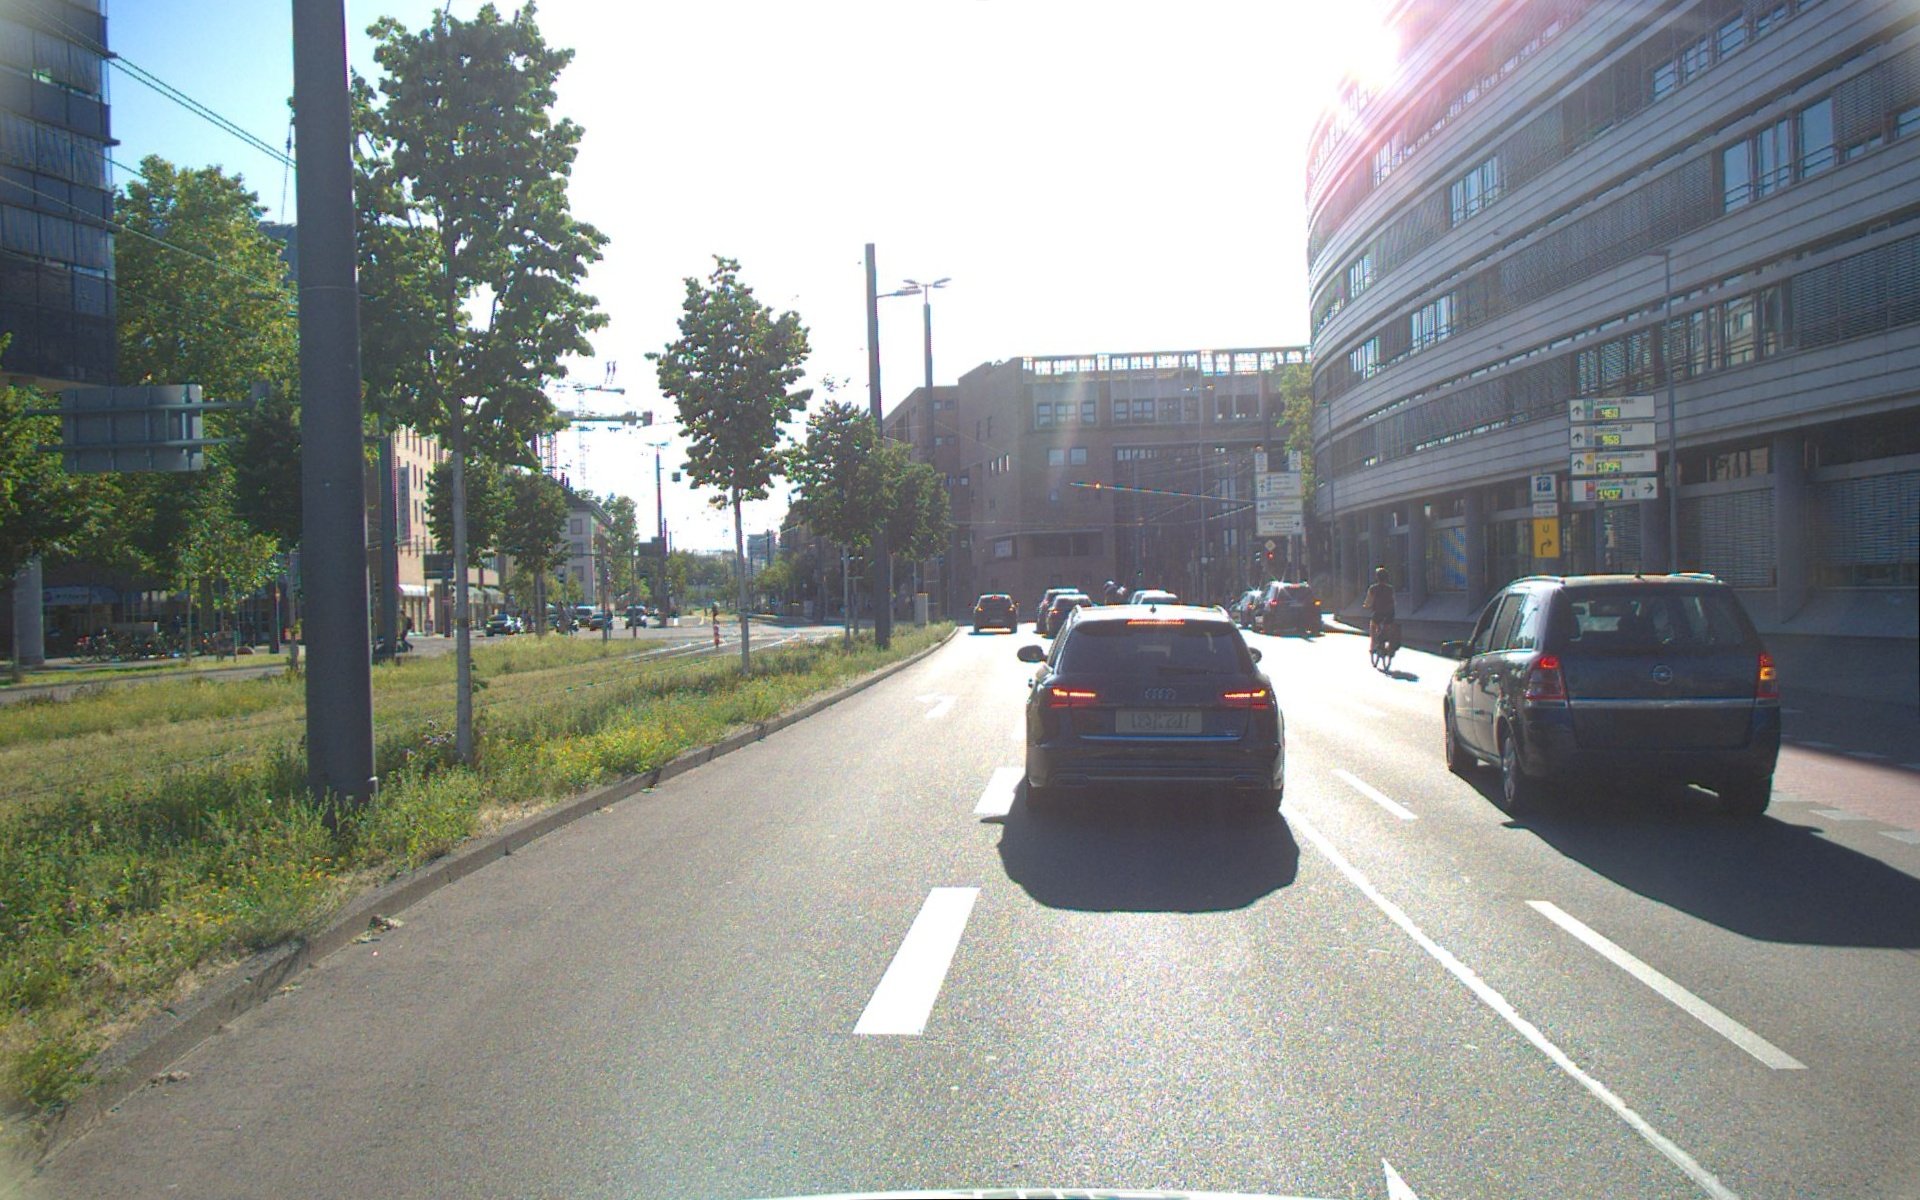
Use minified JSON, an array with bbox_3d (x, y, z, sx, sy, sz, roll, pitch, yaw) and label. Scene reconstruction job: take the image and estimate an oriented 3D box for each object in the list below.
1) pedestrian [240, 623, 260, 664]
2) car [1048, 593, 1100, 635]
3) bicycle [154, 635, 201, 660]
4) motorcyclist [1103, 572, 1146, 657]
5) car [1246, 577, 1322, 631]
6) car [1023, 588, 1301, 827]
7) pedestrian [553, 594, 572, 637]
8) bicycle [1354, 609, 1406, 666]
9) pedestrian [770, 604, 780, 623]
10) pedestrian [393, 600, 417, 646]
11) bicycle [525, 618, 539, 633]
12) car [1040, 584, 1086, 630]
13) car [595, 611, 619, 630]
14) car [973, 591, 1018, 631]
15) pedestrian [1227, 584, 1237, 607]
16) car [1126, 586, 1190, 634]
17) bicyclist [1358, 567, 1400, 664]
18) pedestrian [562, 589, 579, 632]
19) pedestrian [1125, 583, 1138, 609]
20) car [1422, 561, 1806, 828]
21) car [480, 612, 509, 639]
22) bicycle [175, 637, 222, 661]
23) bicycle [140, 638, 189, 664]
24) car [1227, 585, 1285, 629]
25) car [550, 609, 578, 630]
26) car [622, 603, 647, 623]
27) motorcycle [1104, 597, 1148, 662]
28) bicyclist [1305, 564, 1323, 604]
[{"bbox_3d":[-35.945,2.211,83.734,0.652,2.049,0.678,-2,0,2],"label":"pedestrian"},{"bbox_3d":[3.986,0.461,58.313,1.701,1.373,4.001,-2,0,3],"label":"car"},{"bbox_3d":[-33.237,1.997,70.286,1.743,0.968,0.537,-2,0,-26],"label":"bicycle"},{"bbox_3d":[3.099,0.263,31.172,0.729,1.557,1.021,-2,0,5],"label":"motorcyclist"},{"bbox_3d":[11.555,0.122,59.204,1.952,1.780,4.330,-2,0,2],"label":"car"},{"bbox_3d":[1.566,0.688,12.952,1.772,1.518,4.499,-1,0,7],"label":"car"},{"bbox_3d":[-17.403,0.686,72.402,0.619,1.862,0.662,-2,0,-5],"label":"pedestrian"},{"bbox_3d":[8.132,0.709,32.070,0.481,1.015,2.329,-2,0,3],"label":"bicycle"},{"bbox_3d":[-16.231,1.166,145.325,0.729,1.668,0.765,-2,0,-12],"label":"pedestrian"},{"bbox_3d":[-24.952,1.044,74.367,0.717,2.049,0.838,-1,0,6],"label":"pedestrian"},{"bbox_3d":[-34.150,2.021,131.924,0.637,1.104,2.922,-2,0,-6],"label":"bicycle"},{"bbox_3d":[4.061,0.260,65.571,1.701,1.679,4.001,-2,0,3],"label":"car"},{"bbox_3d":[-29.473,1.687,138.126,1.716,1.531,3.864,-2,0,-15],"label":"car"},{"bbox_3d":[1.424,0.406,64.817,1.615,1.458,4.001,-2,0,3],"label":"car"},{"bbox_3d":[17.391,-0.307,105.831,0.518,1.455,0.598,-2,0,1],"label":"pedestrian"},{"bbox_3d":[6.536,0.305,54.853,1.769,1.482,4.001,-1,0,2],"label":"car"},{"bbox_3d":[8.114,0.291,32.063,0.565,1.822,0.864,-2,0,3],"label":"bicyclist"},{"bbox_3d":[-17.357,0.463,73.667,0.552,1.849,0.662,-2,0,-5],"label":"pedestrian"},{"bbox_3d":[12.285,-0.292,118.208,0.692,1.789,0.560,-2,0,27],"label":"pedestrian"},{"bbox_3d":[4.781,0.591,12.771,1.652,1.657,4.466,-2,0,7],"label":"car"},{"bbox_3d":[-38.033,2.080,135.212,1.958,2.049,3.989,-2,0,-11],"label":"car"},{"bbox_3d":[-33.295,2.151,72.350,1.731,0.968,0.541,-2,0,-6],"label":"bicycle"},{"bbox_3d":[-33.249,2.128,69.167,1.736,0.968,0.539,-2,0,-14],"label":"bicycle"},{"bbox_3d":[11.971,0.254,67.084,1.951,1.679,4.003,-2,0,6],"label":"car"},{"bbox_3d":[-32.988,1.603,137.907,1.958,1.623,4.725,-3,1,-11],"label":"car"},{"bbox_3d":[-27.011,1.065,137.137,1.716,1.531,3.864,-2,0,-15],"label":"car"},{"bbox_3d":[3.133,0.541,31.379,0.759,1.135,1.970,-2,0,4],"label":"motorcycle"},{"bbox_3d":[15.091,-0.690,70.467,0.669,1.646,0.992,-2,0,13],"label":"bicyclist"}]
